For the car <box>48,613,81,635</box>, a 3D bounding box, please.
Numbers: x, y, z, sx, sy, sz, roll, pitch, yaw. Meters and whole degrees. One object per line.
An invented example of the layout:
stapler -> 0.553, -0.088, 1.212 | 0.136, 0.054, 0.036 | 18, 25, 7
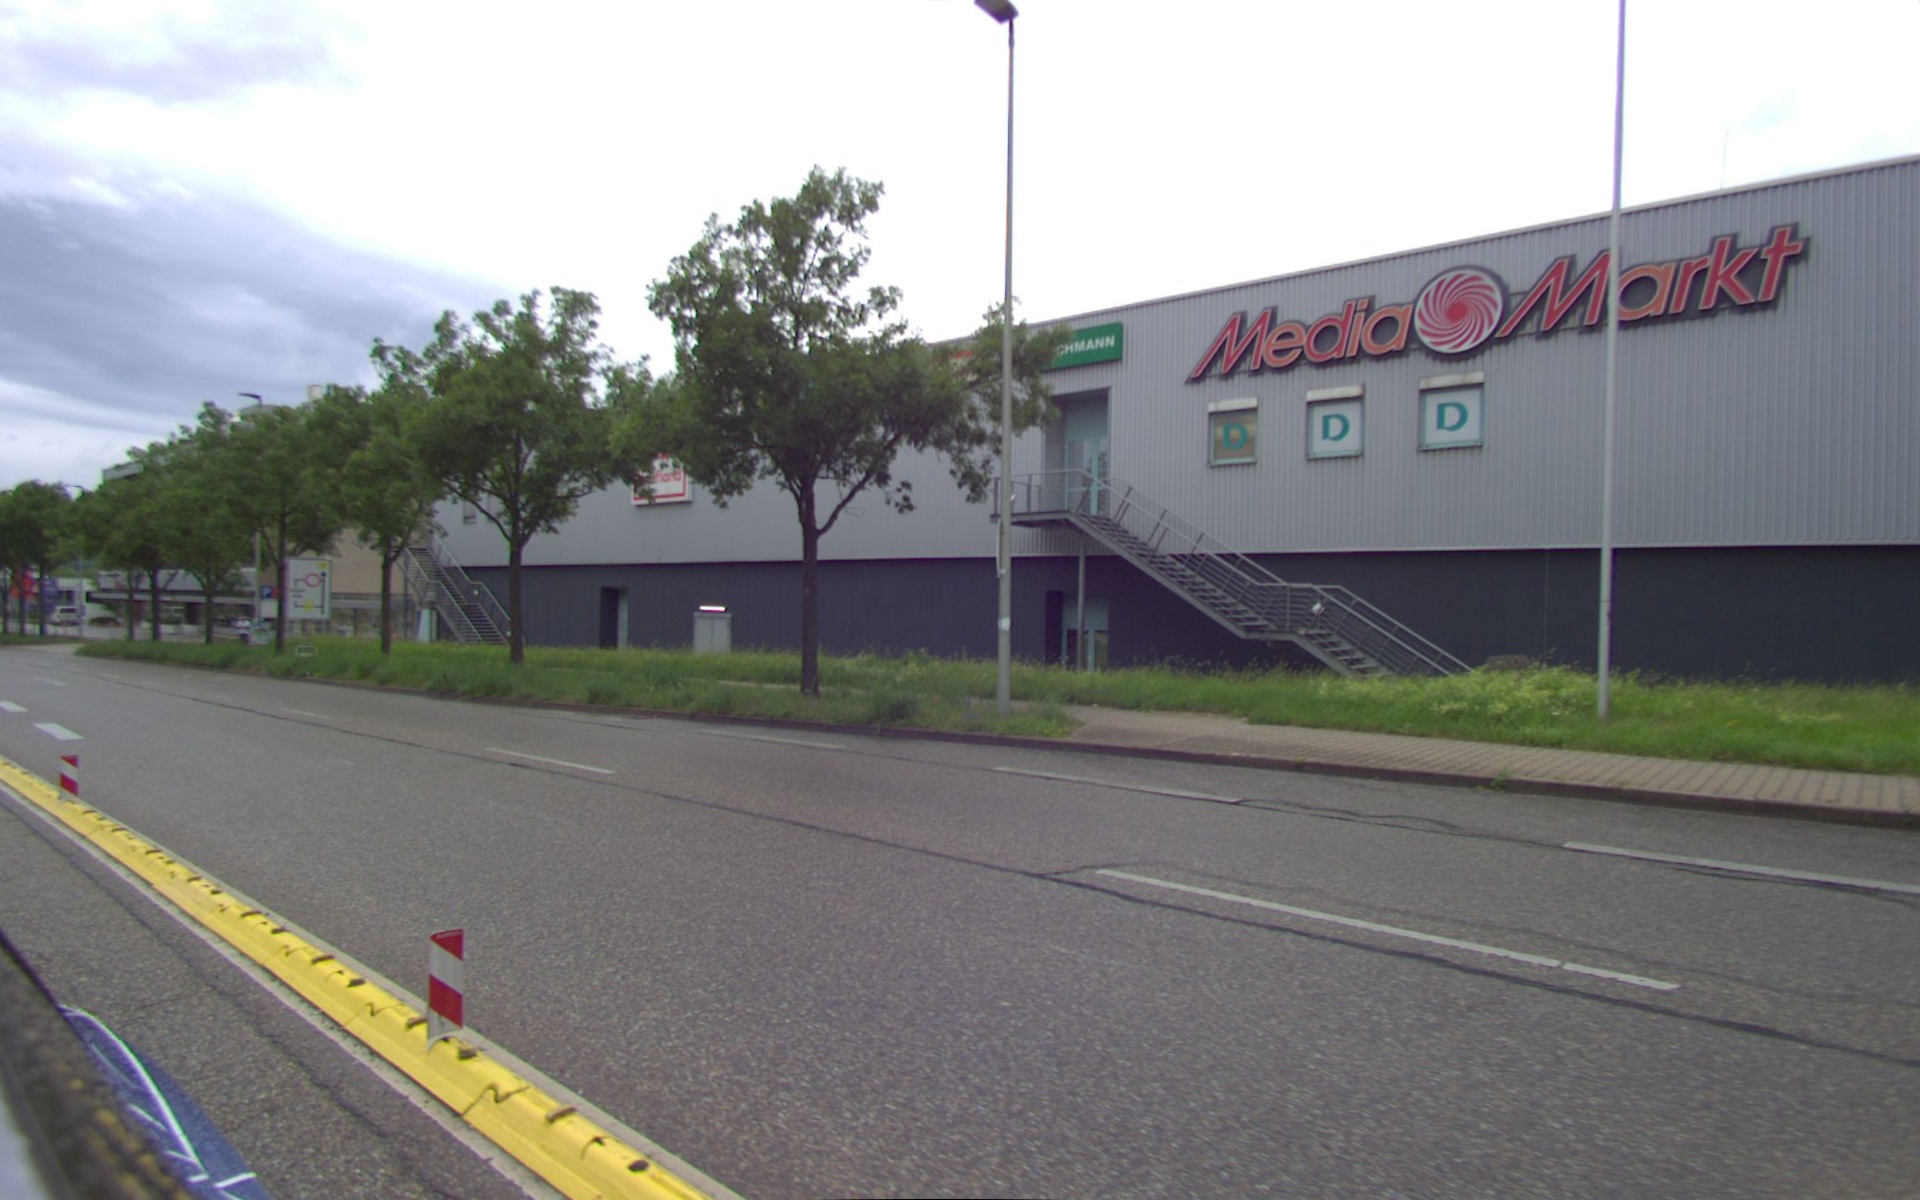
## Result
car -> -94.395, 2.512, 106.683 | 4.885, 2.028, 1.973 | 0, 4, 43

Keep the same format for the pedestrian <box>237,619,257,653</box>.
pedestrian -> -34.773, 1.747, 49.342 | 0.766, 1.595, 0.578 | -1, 0, 40
